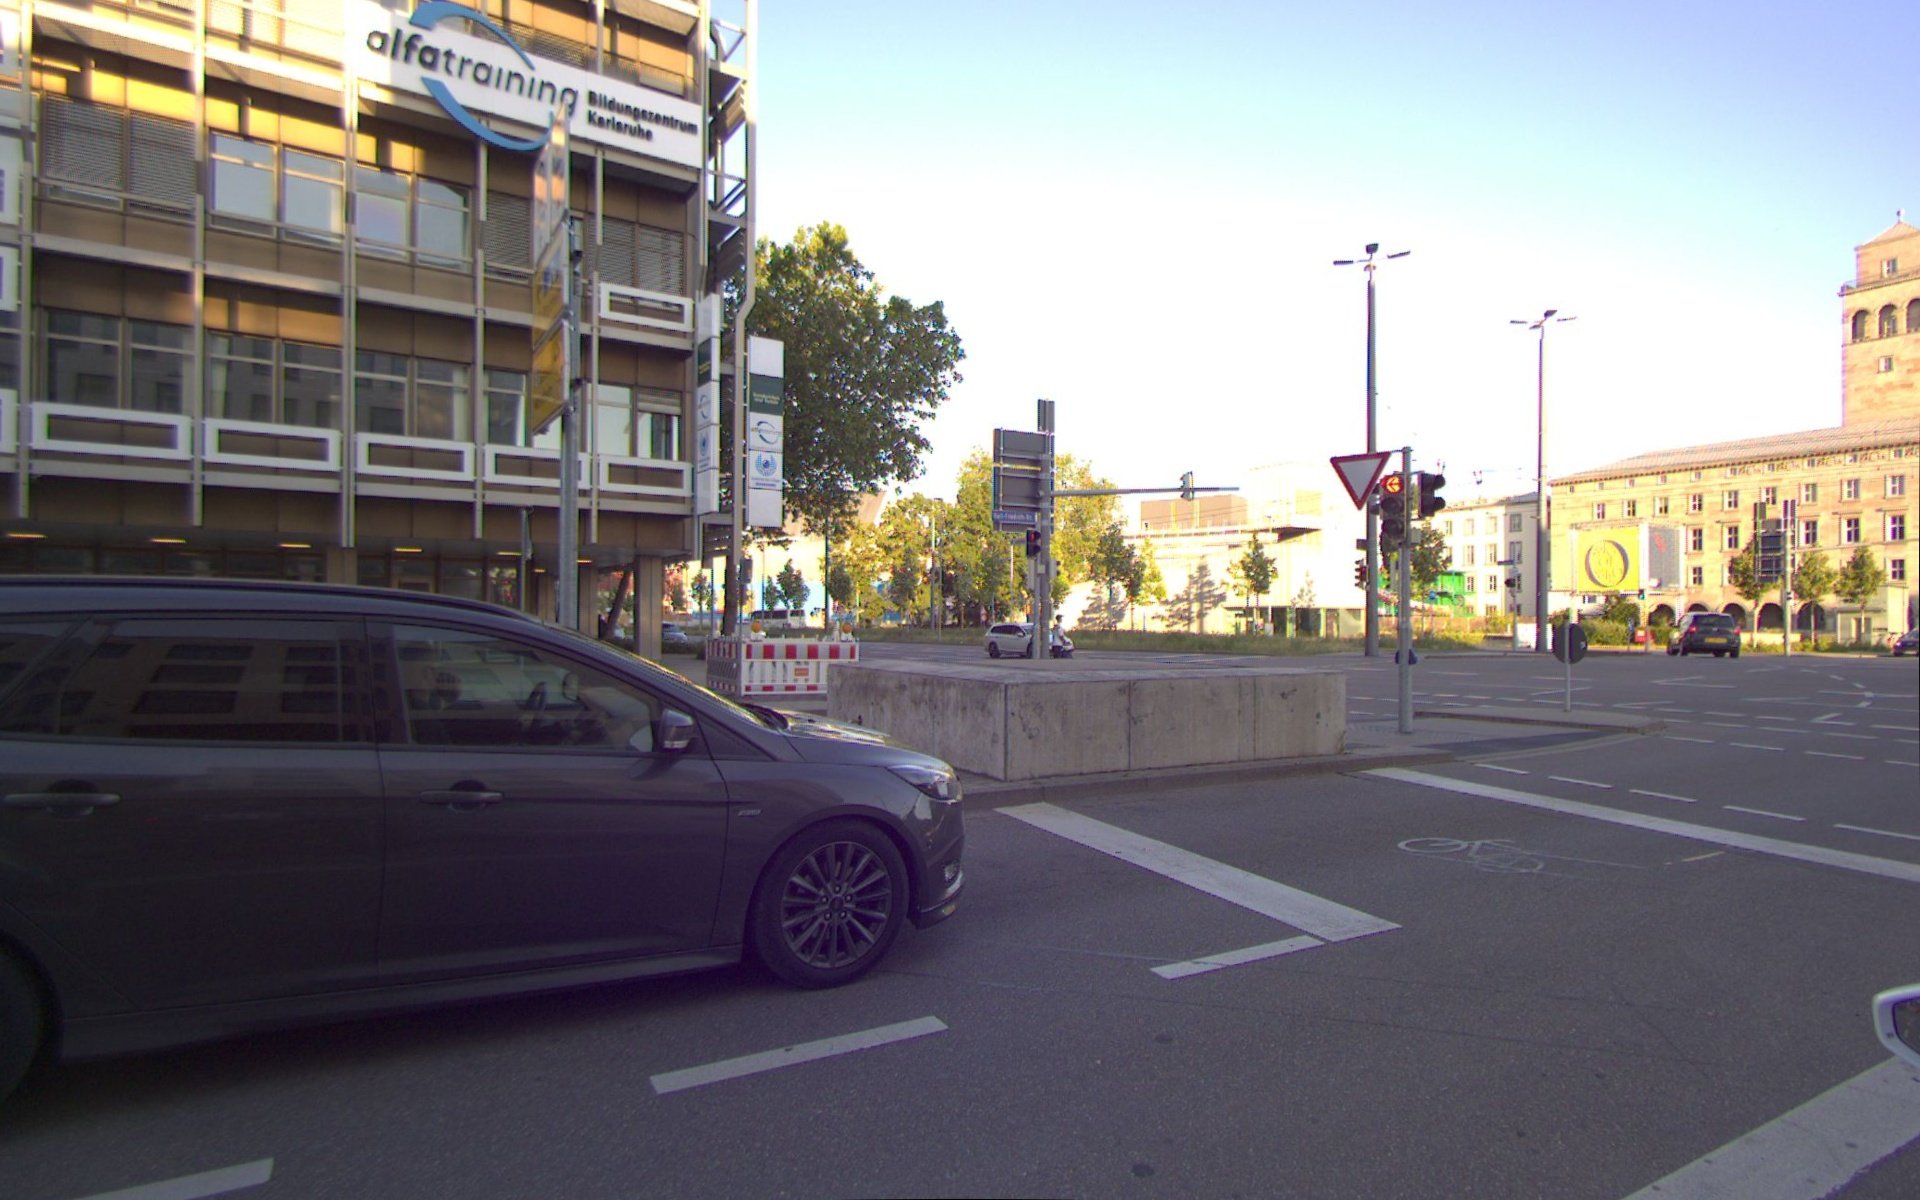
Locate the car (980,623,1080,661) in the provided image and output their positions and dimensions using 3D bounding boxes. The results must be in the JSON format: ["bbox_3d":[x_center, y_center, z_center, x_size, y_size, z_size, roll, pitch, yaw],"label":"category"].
[{"bbox_3d":[2.846,1.699,41.968,1.831,1.476,4.551,0,-1,-32],"label":"car"}]

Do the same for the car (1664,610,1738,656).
[{"bbox_3d":[27.848,1.214,37.878,1.713,1.626,4.127,-1,-1,29],"label":"car"}]

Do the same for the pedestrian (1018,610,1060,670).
[{"bbox_3d":[2.350,1.172,29.888,0.949,1.744,0.816,1,-1,-34],"label":"pedestrian"}]

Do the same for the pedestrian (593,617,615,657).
[{"bbox_3d":[-14.643,1.518,41.285,0.660,1.606,0.715,2,0,-34],"label":"pedestrian"}]

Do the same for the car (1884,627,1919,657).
[{"bbox_3d":[51.248,2.236,53.614,4.111,1.485,1.813,0,-1,-32],"label":"car"}]

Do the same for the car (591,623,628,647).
[{"bbox_3d":[-24.423,2.408,69.933,1.722,1.605,3.764,0,-1,-31],"label":"car"}]

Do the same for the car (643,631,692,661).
[{"bbox_3d":[-17.173,2.639,58.811,1.722,1.605,4.554,0,-1,-30],"label":"car"}]

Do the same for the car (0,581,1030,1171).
[{"bbox_3d":[-2.011,0.698,3.788,4.330,1.482,1.748,1,1,-31],"label":"car"}]

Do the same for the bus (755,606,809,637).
[{"bbox_3d":[-23.187,2.735,130.209,2.959,3.818,10.341,1,-1,-34],"label":"bus"}]

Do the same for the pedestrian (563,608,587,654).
[{"bbox_3d":[-15.704,1.263,40.978,0.749,1.830,0.715,2,0,-35],"label":"pedestrian"}]

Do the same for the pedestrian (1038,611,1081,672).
[{"bbox_3d":[2.885,1.185,29.203,0.949,1.744,0.816,1,-1,-34],"label":"pedestrian"}]

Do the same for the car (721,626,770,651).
[{"bbox_3d":[-13.281,2.335,61.955,1.829,1.476,3.921,0,-1,-30],"label":"car"}]
